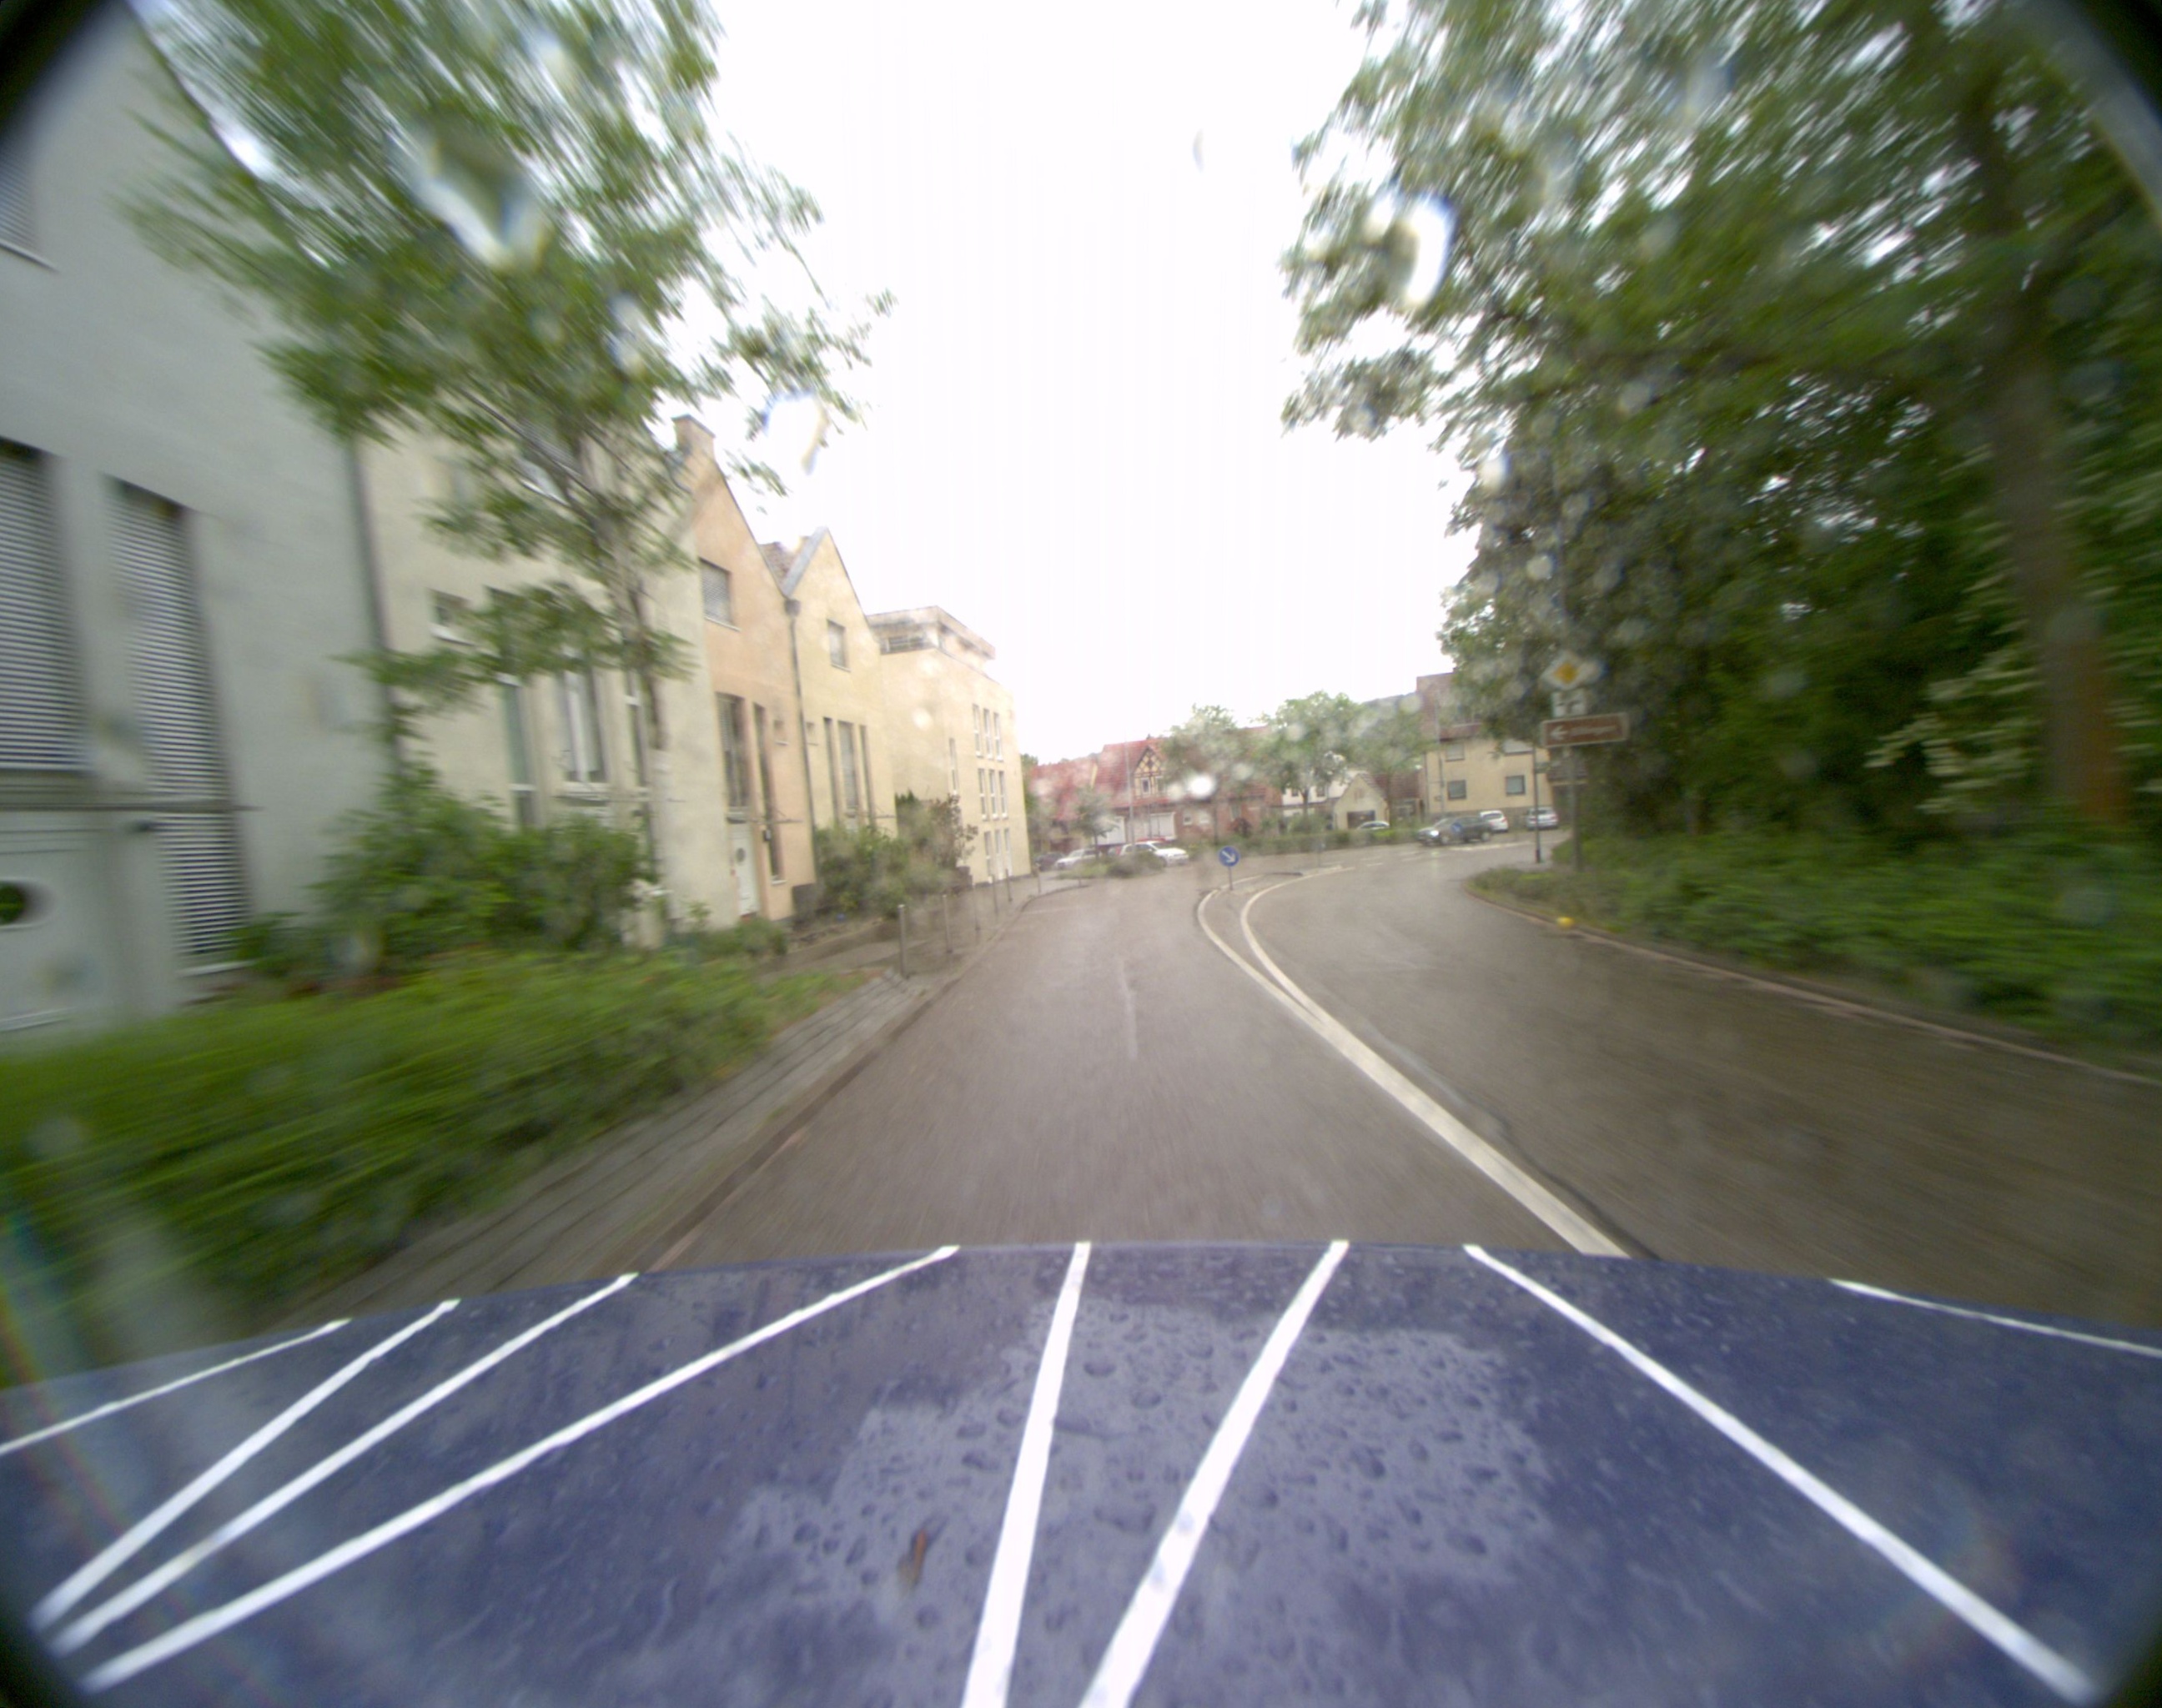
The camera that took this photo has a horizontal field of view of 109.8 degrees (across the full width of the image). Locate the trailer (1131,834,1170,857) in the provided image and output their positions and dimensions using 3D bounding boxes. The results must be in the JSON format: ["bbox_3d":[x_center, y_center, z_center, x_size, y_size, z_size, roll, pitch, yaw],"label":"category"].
[{"bbox_3d":[5.703,-0.707,62.457,2.718,1.640,1.414,-4,2,30],"label":"trailer"}]

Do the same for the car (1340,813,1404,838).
[{"bbox_3d":[21.860,-2.166,57.030,4.255,1.431,1.910,-4,4,25],"label":"car"}]

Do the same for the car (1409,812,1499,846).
[{"bbox_3d":[20.695,-1.391,42.287,3.998,1.522,1.998,-5,4,-4],"label":"car"}]

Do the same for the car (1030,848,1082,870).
[{"bbox_3d":[-1.940,0.358,60.584,1.875,1.368,4.006,-3,2,40],"label":"car"}]

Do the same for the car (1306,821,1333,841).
[{"bbox_3d":[20.565,-2.008,65.451,1.598,1.488,4.005,-4,1,25],"label":"car"}]

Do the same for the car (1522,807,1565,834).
[{"bbox_3d":[31.075,-2.270,51.169,1.817,1.407,4.631,-4,4,24],"label":"car"}]

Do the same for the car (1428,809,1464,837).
[{"bbox_3d":[25.897,-2.252,53.952,1.745,1.574,4.002,-6,4,19],"label":"car"}]

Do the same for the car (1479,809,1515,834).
[{"bbox_3d":[28.824,-2.304,52.739,1.715,1.521,3.435,-4,2,21],"label":"car"}]

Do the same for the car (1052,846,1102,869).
[{"bbox_3d":[-0.247,0.245,58.441,1.619,1.382,4.006,-4,2,38],"label":"car"}]

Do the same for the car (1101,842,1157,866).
[{"bbox_3d":[3.541,-0.021,55.910,3.738,1.382,1.620,-6,2,-29],"label":"car"}]

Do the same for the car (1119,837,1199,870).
[{"bbox_3d":[4.343,0.003,42.811,4.139,1.527,1.760,-4,3,42],"label":"car"}]
